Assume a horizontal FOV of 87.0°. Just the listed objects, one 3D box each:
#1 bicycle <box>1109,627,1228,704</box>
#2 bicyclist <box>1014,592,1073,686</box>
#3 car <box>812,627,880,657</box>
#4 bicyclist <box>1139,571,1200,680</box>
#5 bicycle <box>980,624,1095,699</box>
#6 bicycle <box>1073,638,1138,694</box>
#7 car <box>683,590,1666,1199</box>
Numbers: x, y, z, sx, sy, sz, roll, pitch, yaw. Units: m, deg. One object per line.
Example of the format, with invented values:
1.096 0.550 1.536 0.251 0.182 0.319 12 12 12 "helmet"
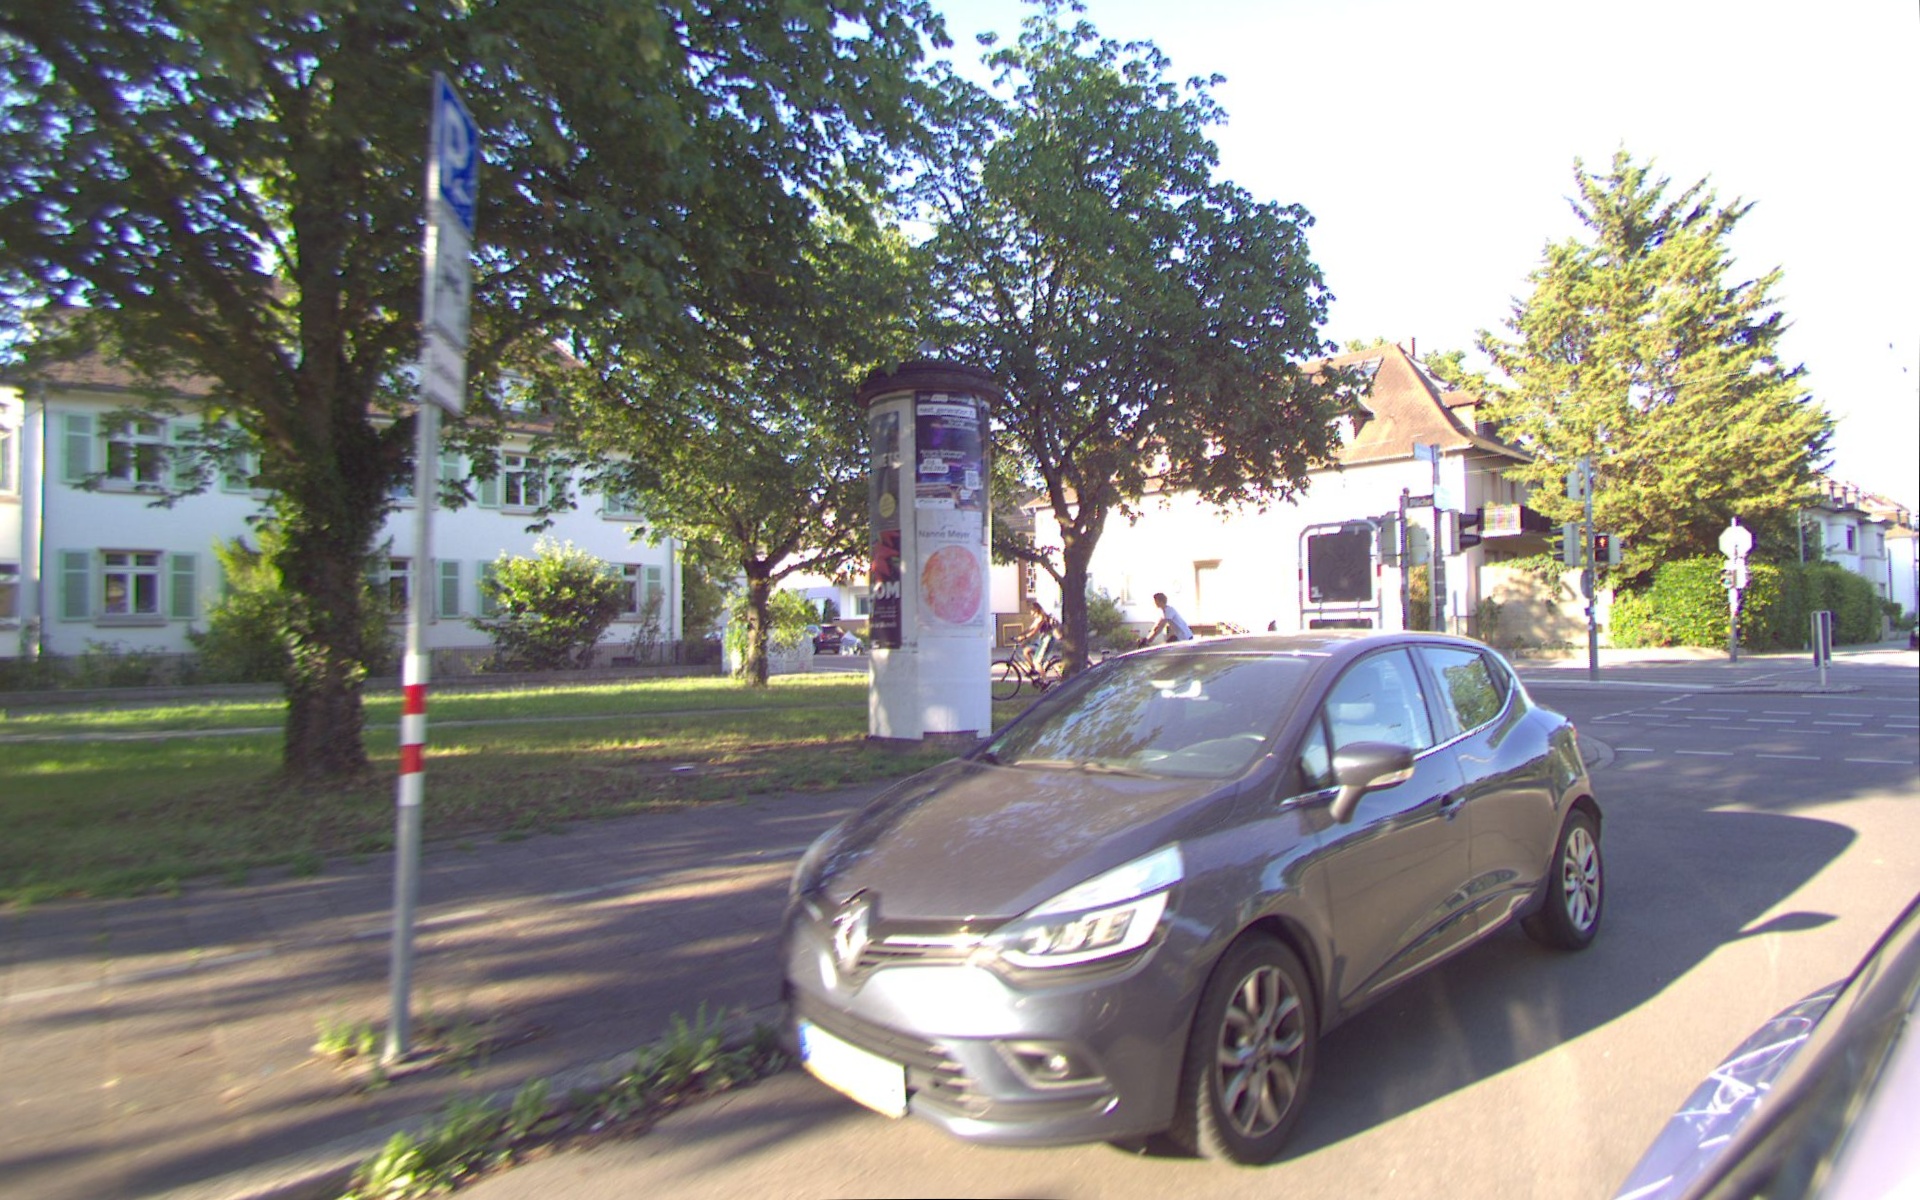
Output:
3.500 1.105 17.080 1.875 1.199 0.572 -4 -4 11 "bicycle"
1.477 0.691 17.846 0.880 1.583 0.711 -4 -4 13 "bicyclist"
-6.522 2.422 57.639 1.965 1.617 3.993 0 -3 -40 "car"
3.530 0.444 17.099 0.880 1.755 0.814 -4 -3 11 "bicyclist"
1.361 1.081 17.870 1.930 1.199 0.491 -4 -3 7 "bicycle"
2.973 1.332 20.814 0.458 1.103 1.527 0 -2 -31 "bicycle"
1.302 0.792 4.307 4.462 1.531 1.727 0 -4 -42 "car"
